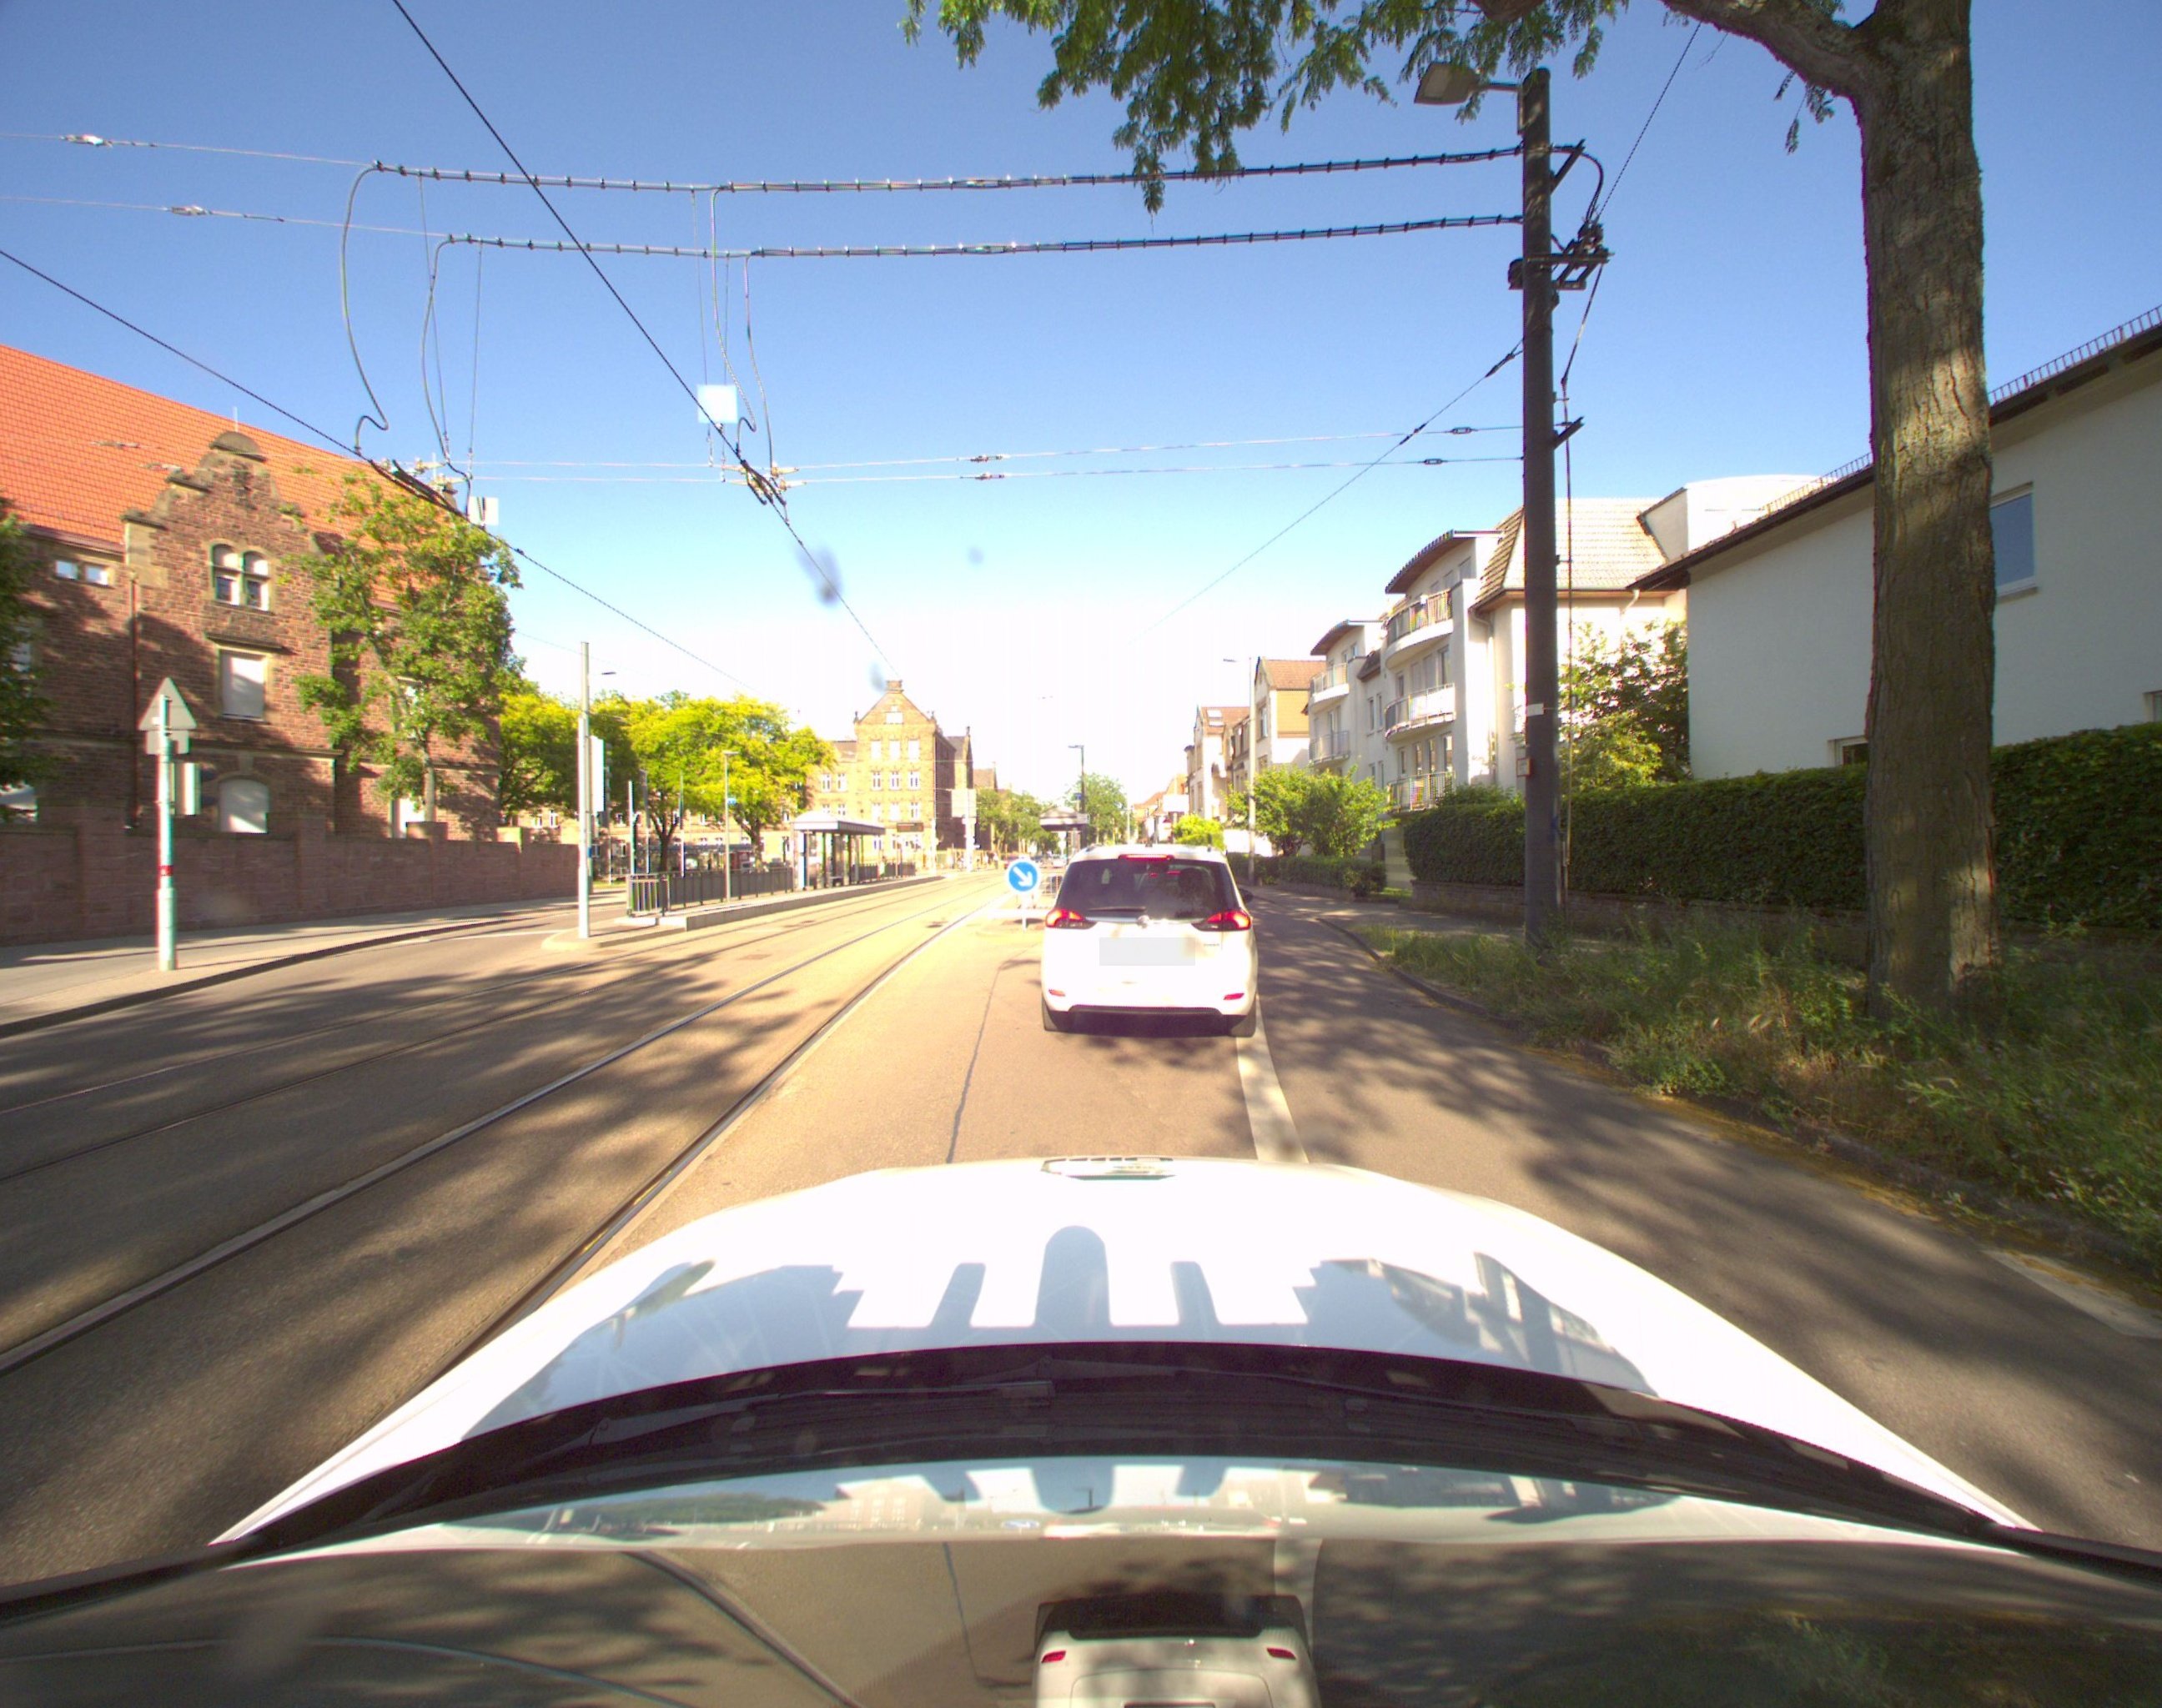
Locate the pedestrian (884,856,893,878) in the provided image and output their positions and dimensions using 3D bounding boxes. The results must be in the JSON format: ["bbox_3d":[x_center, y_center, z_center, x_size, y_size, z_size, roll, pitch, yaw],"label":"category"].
[{"bbox_3d":[-18.117,1.209,76.475,0.795,2.014,1.042,0,-1,-12],"label":"pedestrian"}]

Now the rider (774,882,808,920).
[{"bbox_3d":[-14.585,2.327,40.981,0.793,1.782,2.488,0,-1,1],"label":"rider"}]

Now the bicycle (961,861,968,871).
[{"bbox_3d":[-12.769,1.322,89.485,0.507,1.077,1.739,0,-1,2],"label":"bicycle"}]

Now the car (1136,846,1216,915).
[{"bbox_3d":[2.619,0.643,21.678,1.896,1.624,4.010,-1,0,9],"label":"car"}]

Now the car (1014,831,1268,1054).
[{"bbox_3d":[0.755,0.669,8.172,1.896,1.661,4.010,-1,0,9],"label":"car"}]

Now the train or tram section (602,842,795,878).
[{"bbox_3d":[-37.845,0.583,81.135,17.346,3.154,3.344,-1,-1,-3],"label":"train or tram section"}]

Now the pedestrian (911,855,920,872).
[{"bbox_3d":[-18.206,1.040,89.576,0.802,1.901,0.747,-1,-1,16],"label":"pedestrian"}]

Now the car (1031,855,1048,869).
[{"bbox_3d":[-5.168,0.963,101.150,1.740,1.716,4.001,0,-1,2],"label":"car"}]

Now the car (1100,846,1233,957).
[{"bbox_3d":[1.558,0.693,13.857,1.896,1.597,4.010,-1,0,9],"label":"car"}]

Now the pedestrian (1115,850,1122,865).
[{"bbox_3d":[4.933,0.456,106.908,0.802,1.901,0.747,-1,-1,15],"label":"pedestrian"}]

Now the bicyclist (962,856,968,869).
[{"bbox_3d":[-12.784,0.916,89.478,0.529,1.477,0.572,0,-1,1],"label":"bicyclist"}]

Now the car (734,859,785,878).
[{"bbox_3d":[-29.654,1.322,75.203,3.976,1.630,1.817,0,-1,-2],"label":"car"}]

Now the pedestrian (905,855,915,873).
[{"bbox_3d":[-18.258,1.019,86.949,0.802,1.901,0.747,-1,-1,16],"label":"pedestrian"}]

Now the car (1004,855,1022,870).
[{"bbox_3d":[-8.103,1.052,97.696,1.740,1.716,4.001,0,-1,2],"label":"car"}]

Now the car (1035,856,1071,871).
[{"bbox_3d":[-3.176,1.086,91.845,3.949,1.716,1.763,-1,-1,41],"label":"car"}]

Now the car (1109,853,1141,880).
[{"bbox_3d":[2.841,0.758,53.171,1.901,1.661,4.000,-1,0,0],"label":"car"}]

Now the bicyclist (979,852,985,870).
[{"bbox_3d":[-11.260,0.786,92.694,0.496,2.014,0.572,0,-1,1],"label":"bicyclist"}]

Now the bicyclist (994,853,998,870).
[{"bbox_3d":[-10.236,0.879,98.154,0.486,2.014,0.502,0,-1,1],"label":"bicyclist"}]

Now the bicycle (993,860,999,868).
[{"bbox_3d":[-10.238,1.196,98.056,0.485,0.971,1.406,0,-1,2],"label":"bicycle"}]

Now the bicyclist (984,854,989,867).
[{"bbox_3d":[-11.424,0.792,98.125,0.529,1.477,0.572,0,-1,1],"label":"bicyclist"}]

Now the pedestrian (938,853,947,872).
[{"bbox_3d":[-14.553,0.875,85.504,0.796,2.014,0.717,0,-1,-15],"label":"pedestrian"}]

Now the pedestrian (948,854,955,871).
[{"bbox_3d":[-15.666,1.057,98.353,0.686,2.014,0.618,0,-1,6],"label":"pedestrian"}]

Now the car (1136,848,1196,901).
[{"bbox_3d":[2.975,0.658,28.335,1.897,1.661,4.007,-1,0,6],"label":"car"}]

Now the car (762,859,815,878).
[{"bbox_3d":[-25.446,1.246,70.960,3.976,1.630,1.817,0,-1,-2],"label":"car"}]

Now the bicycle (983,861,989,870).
[{"bbox_3d":[-11.422,1.383,98.084,0.507,1.077,1.739,0,-1,2],"label":"bicycle"}]

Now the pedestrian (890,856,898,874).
[{"bbox_3d":[-18.556,1.115,80.713,0.768,1.774,0.717,0,-1,-15],"label":"pedestrian"}]

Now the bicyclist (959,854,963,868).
[{"bbox_3d":[-12.550,0.735,85.324,0.312,1.444,0.384,0,-1,1],"label":"bicyclist"}]

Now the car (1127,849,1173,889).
[{"bbox_3d":[2.996,0.623,36.179,1.899,1.661,4.003,-1,0,3],"label":"car"}]
